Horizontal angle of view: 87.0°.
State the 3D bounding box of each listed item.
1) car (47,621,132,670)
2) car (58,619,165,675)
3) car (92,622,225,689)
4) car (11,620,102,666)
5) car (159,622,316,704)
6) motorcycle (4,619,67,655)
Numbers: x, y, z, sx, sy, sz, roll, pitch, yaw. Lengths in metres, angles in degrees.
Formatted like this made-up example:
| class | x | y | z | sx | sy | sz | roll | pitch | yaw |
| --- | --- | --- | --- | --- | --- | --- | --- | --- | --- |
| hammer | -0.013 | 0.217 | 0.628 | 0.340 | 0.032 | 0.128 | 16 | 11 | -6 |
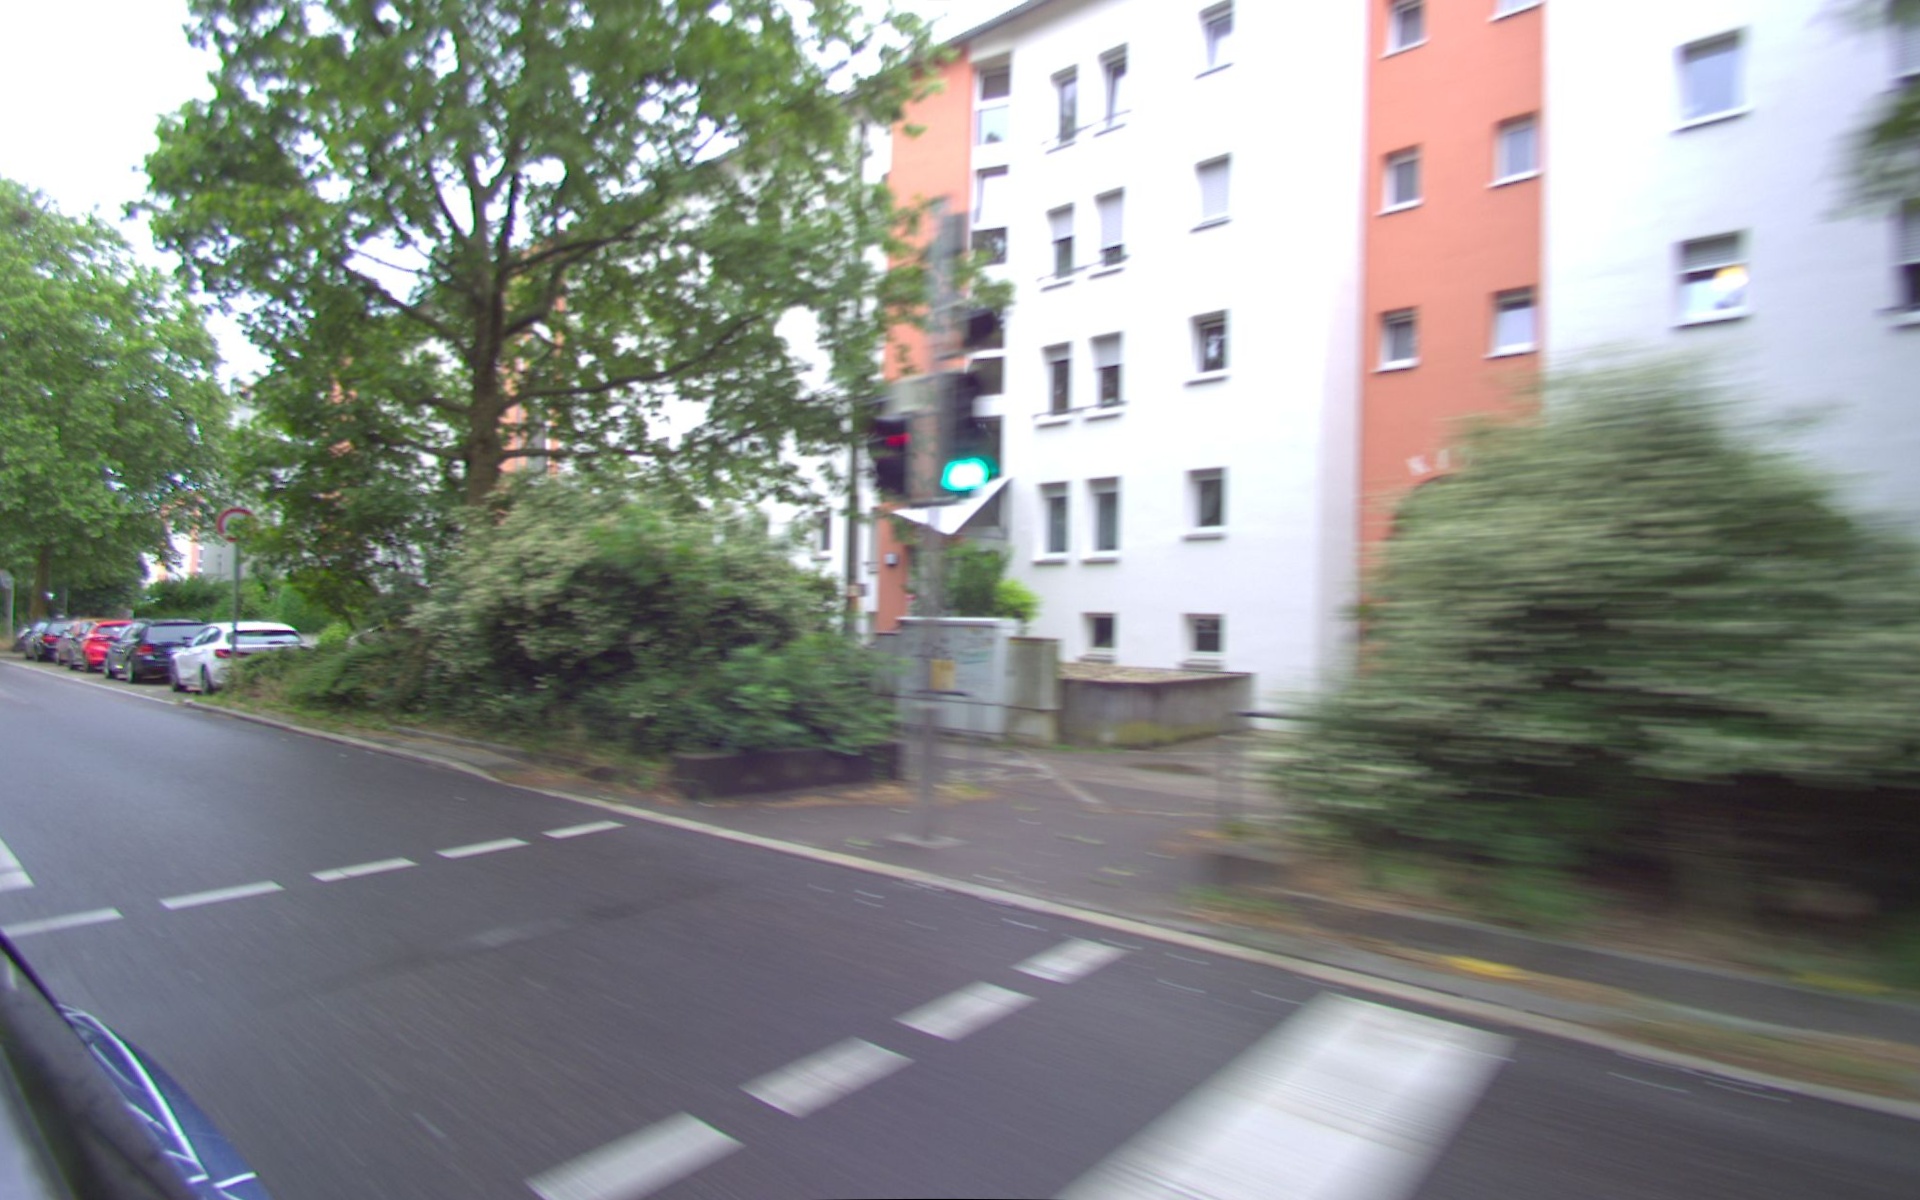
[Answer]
| class | x | y | z | sx | sy | sz | roll | pitch | yaw |
| --- | --- | --- | --- | --- | --- | --- | --- | --- | --- |
| car | -28.144 | 1.430 | 32.692 | 3.394 | 1.478 | 1.540 | -1 | -1 | 40 |
| car | -24.224 | 1.298 | 28.847 | 3.753 | 1.478 | 1.699 | -1 | -1 | 40 |
| car | -19.455 | 1.275 | 24.508 | 4.230 | 1.478 | 1.699 | -1 | -1 | 40 |
| car | -32.232 | 1.497 | 36.069 | 4.800 | 1.521 | 1.699 | -1 | -1 | 40 |
| car | -14.680 | 1.194 | 20.481 | 4.308 | 1.478 | 1.698 | -1 | -2 | 42 |
| motorcycle | -36.014 | 1.451 | 39.445 | 0.722 | 1.350 | 1.695 | -1 | -3 | 41 |
